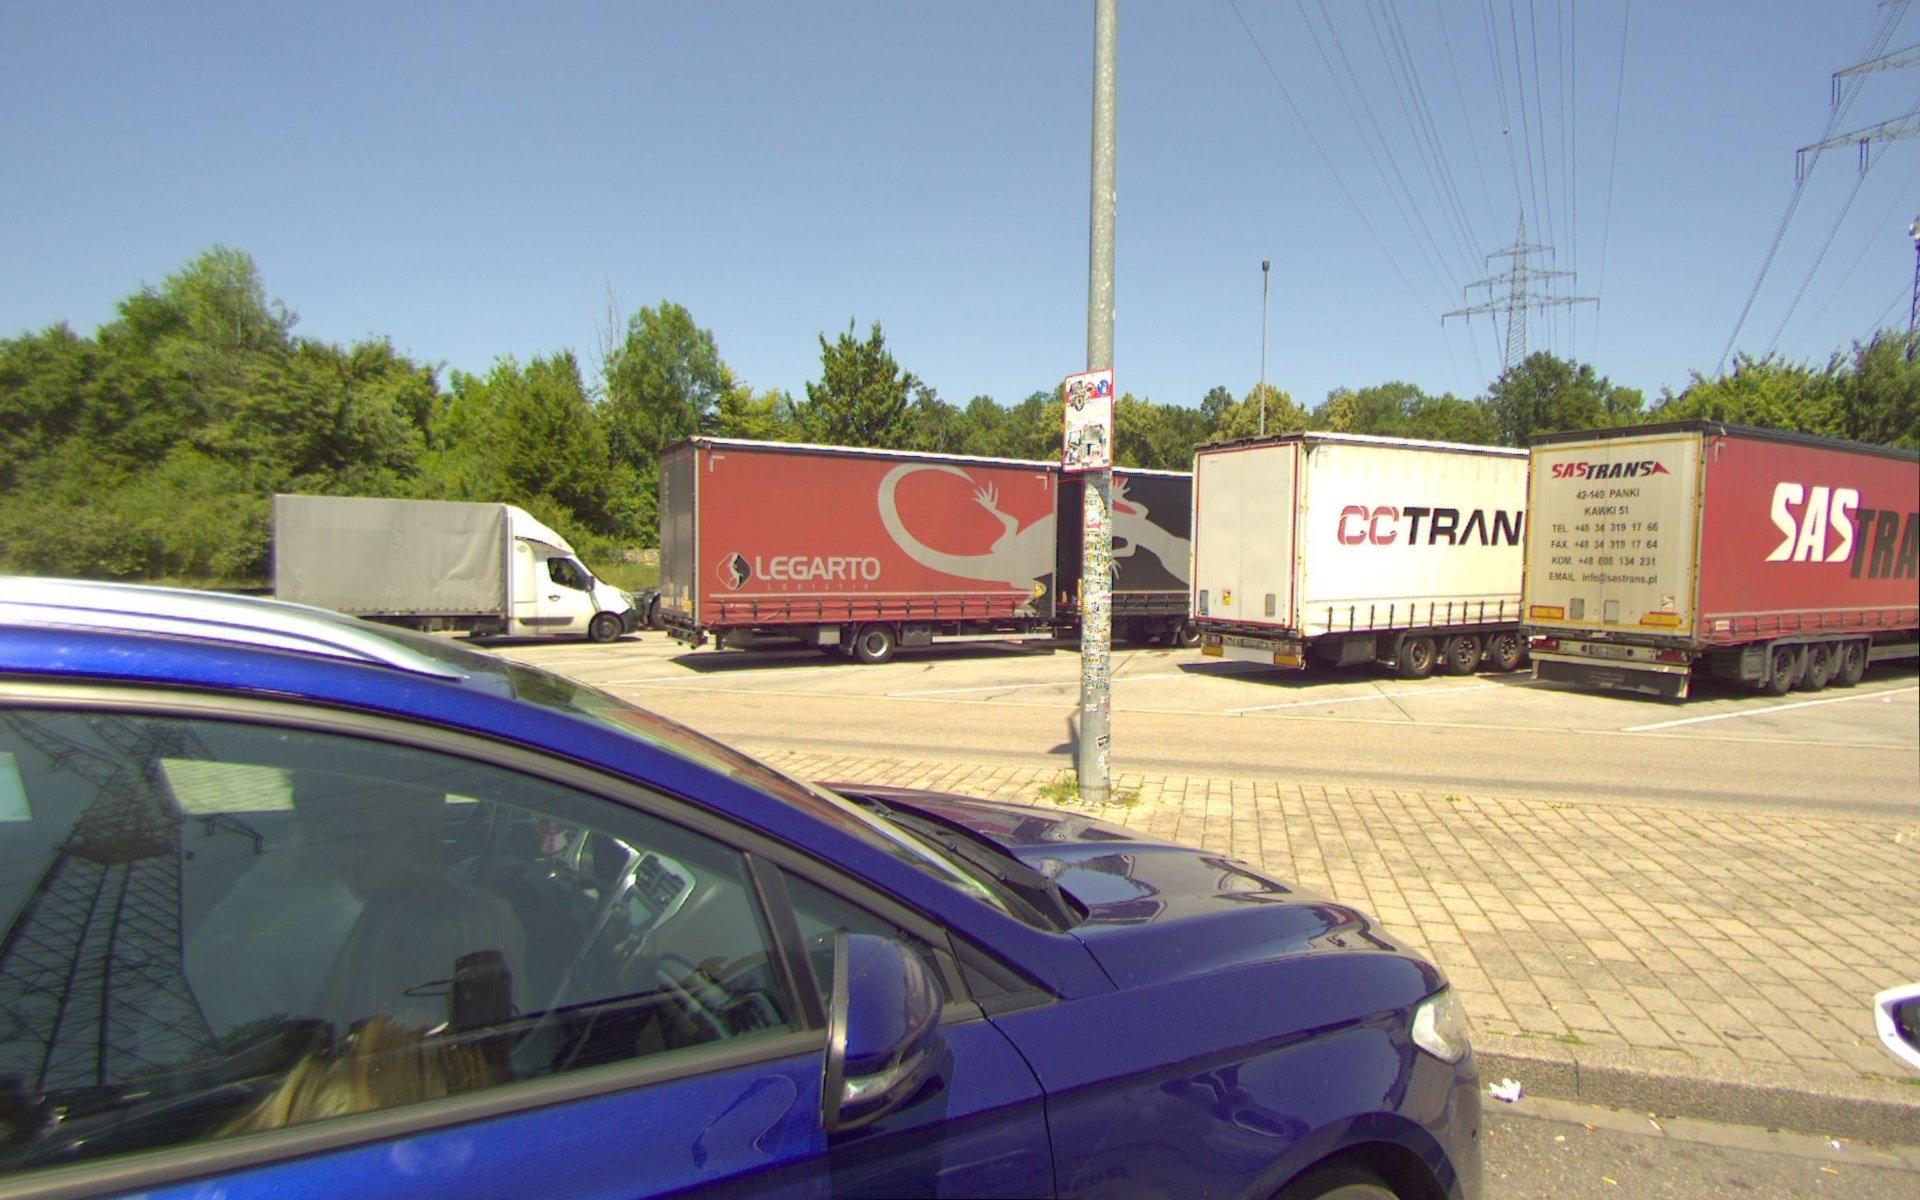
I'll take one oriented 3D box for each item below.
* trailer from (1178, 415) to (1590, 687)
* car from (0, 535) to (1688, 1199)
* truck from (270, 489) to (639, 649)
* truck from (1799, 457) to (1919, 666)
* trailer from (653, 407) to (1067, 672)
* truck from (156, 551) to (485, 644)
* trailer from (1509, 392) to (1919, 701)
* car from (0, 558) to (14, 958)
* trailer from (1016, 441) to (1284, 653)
[{"bbox_3d":[8.134,-0.763,18.845,8.189,4.208,2.741,0,1,-30],"label":"trailer"},{"bbox_3d":[-0.990,0.671,1.473,4.362,1.437,1.731,1,0,-30],"label":"car"},{"bbox_3d":[-11.173,-0.599,22.755,7.171,3.194,2.160,0,1,-30],"label":"truck"},{"bbox_3d":[21.436,-0.763,22.060,5.824,4.189,2.792,0,0,-30],"label":"truck"},{"bbox_3d":[-1.847,-1.011,20.294,7.963,4.510,2.648,0,0,-31],"label":"trailer"},{"bbox_3d":[-15.273,-0.038,24.517,6.538,2.040,1.984,0,0,-30],"label":"truck"},{"bbox_3d":[15.253,-0.706,18.425,13.046,4.276,2.786,0,0,-31],"label":"trailer"},{"bbox_3d":[-4.359,0.531,2.203,3.077,1.378,1.334,1,0,-30],"label":"car"},{"bbox_3d":[4.601,-1.119,24.118,6.076,4.504,2.665,0,0,-30],"label":"trailer"}]
